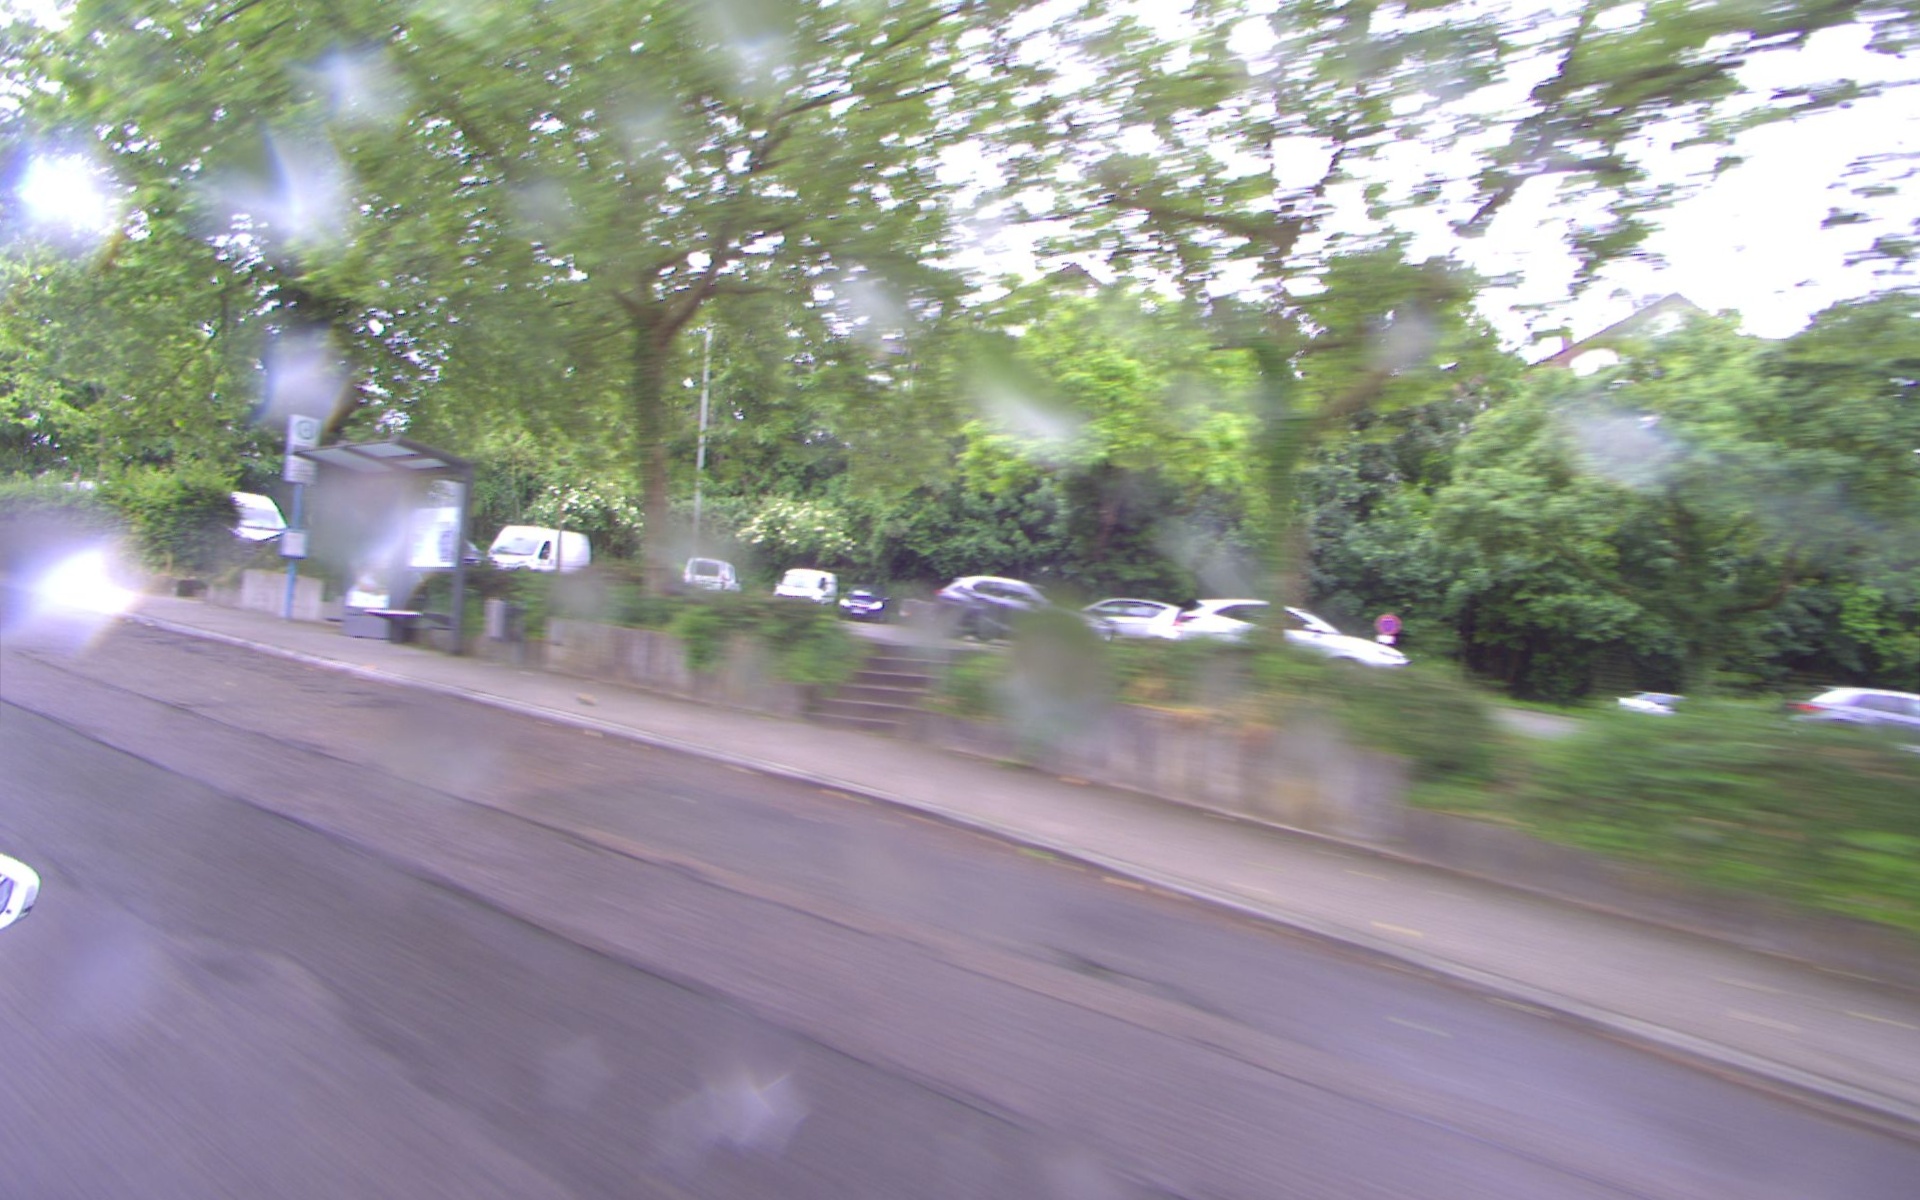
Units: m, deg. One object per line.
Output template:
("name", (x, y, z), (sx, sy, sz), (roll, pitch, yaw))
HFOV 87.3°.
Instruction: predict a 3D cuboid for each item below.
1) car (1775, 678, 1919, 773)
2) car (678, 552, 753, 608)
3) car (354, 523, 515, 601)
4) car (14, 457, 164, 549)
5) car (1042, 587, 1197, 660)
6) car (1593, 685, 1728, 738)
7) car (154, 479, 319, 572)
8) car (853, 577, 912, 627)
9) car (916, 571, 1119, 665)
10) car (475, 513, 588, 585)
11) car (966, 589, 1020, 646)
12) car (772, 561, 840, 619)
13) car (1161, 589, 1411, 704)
("car", (18.864, 2.629, 19.683), (4.099, 1.468, 1.901), (8, -3, 28))
("car", (-9.875, -0.761, 40.921), (1.771, 1.683, 4.185), (9, -3, 1))
("car", (-14.483, -1.047, 27.705), (4.099, 1.602, 1.825), (7, -1, 28))
("car", (-27.236, -3.027, 31.439), (4.061, 2.252, 1.999), (7, -1, 28))
("car", (4.336, 0.649, 27.335), (3.712, 1.349, 1.744), (8, -3, 23))
("car", (25.987, 4.105, 37.431), (3.640, 1.335, 1.708), (9, -3, 9))
("car", (-23.926, -2.465, 33.274), (4.927, 2.310, 2.052), (7, -2, 25))
("car", (-2.994, 0.136, 39.679), (1.771, 1.493, 4.185), (9, -3, 1))
("car", (1.303, 0.400, 23.178), (4.100, 1.468, 1.901), (7, -3, 30))
("car", (-16.981, -1.951, 40.239), (1.962, 2.035, 5.210), (9, -3, 1))
("car", (1.378, 0.747, 39.831), (1.770, 1.788, 4.186), (9, -3, 4))
("car", (-6.103, -0.332, 40.329), (1.771, 1.788, 4.185), (9, -3, 1))
("car", (6.144, 0.868, 19.000), (4.099, 1.468, 1.901), (8, -3, 28))
